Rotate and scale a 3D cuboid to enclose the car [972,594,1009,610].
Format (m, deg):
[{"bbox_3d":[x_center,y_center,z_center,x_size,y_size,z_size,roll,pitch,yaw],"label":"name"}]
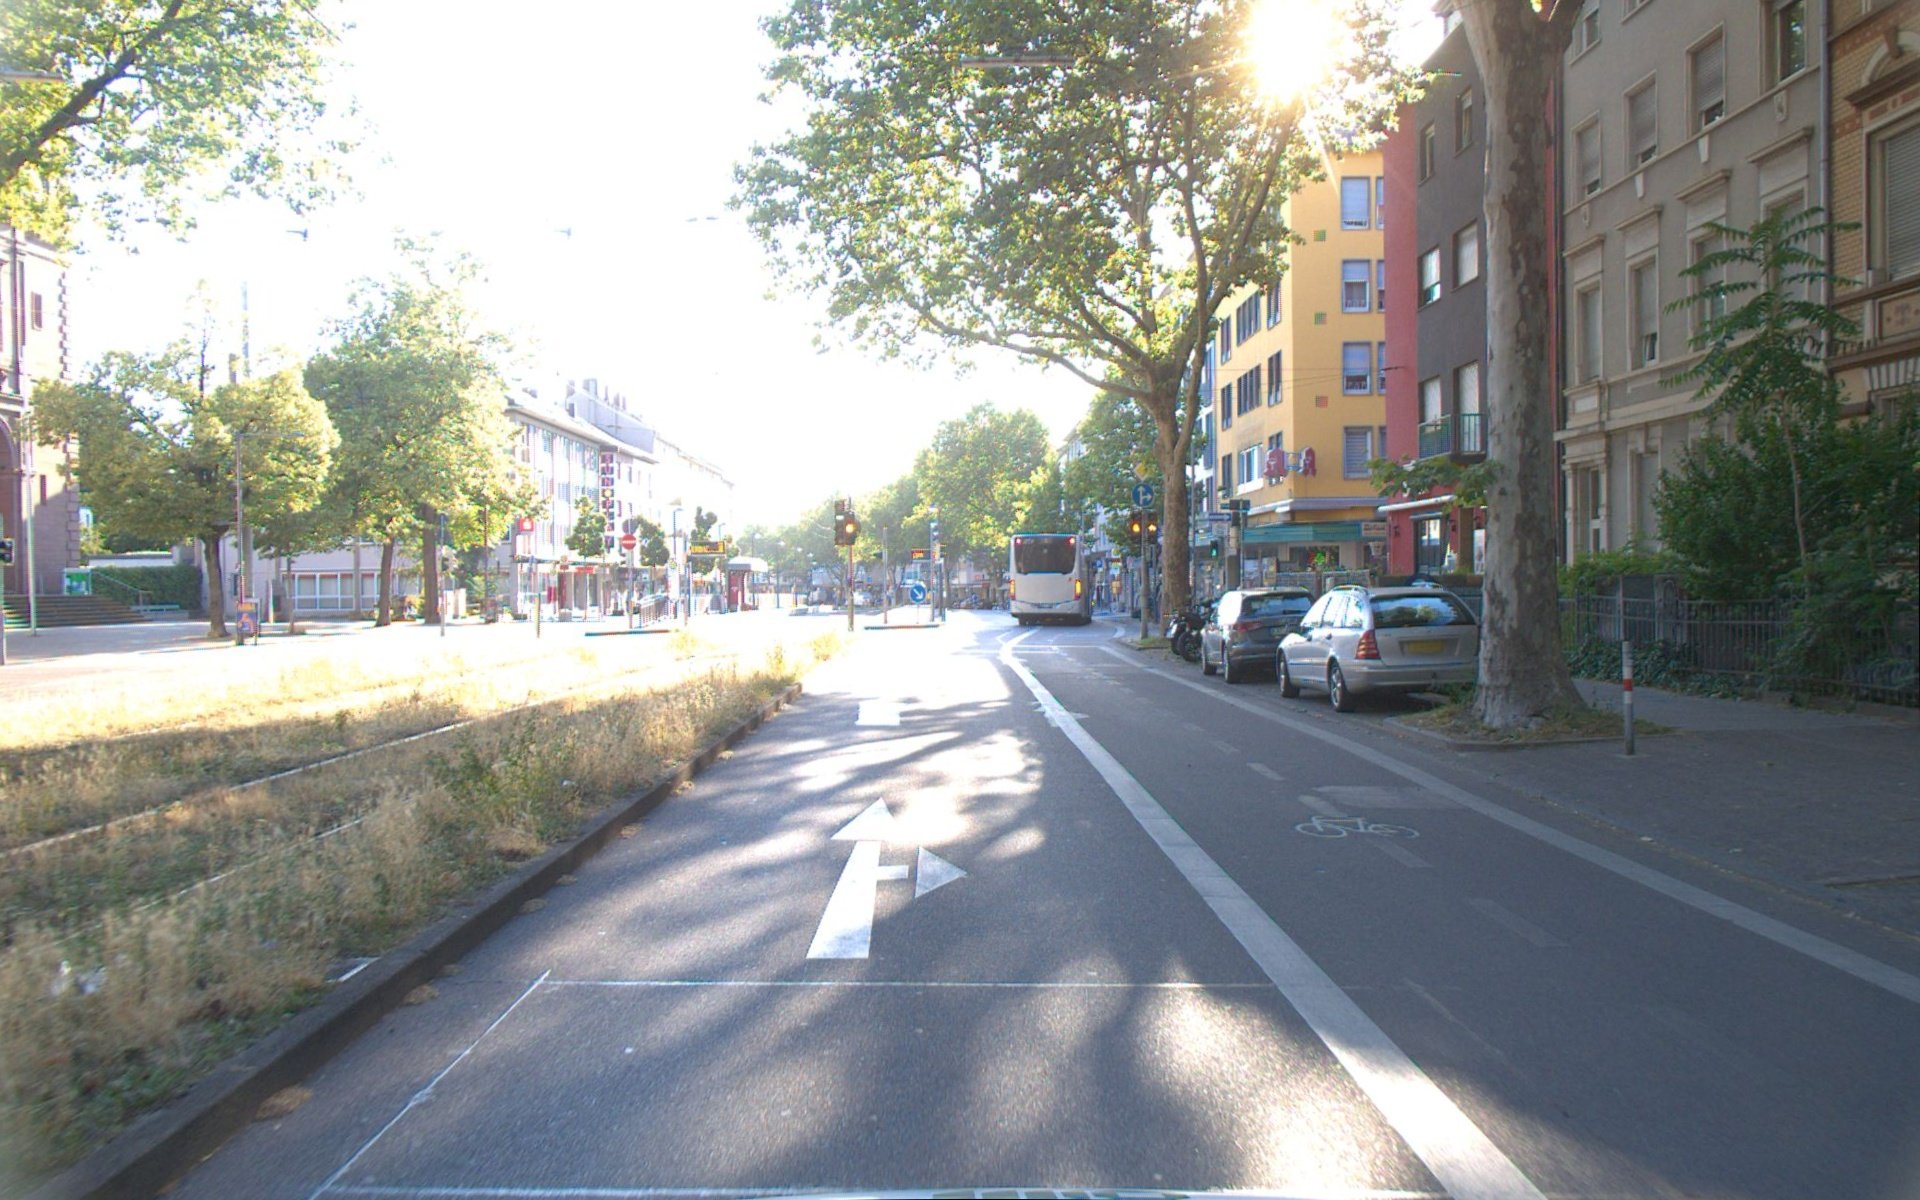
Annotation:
[{"bbox_3d":[3.536,0.226,191.575,3.847,1.729,1.816,-1,1,-29],"label":"car"}]

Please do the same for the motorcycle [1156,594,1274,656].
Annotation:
[{"bbox_3d":[5.002,0.476,32.432,2.176,1.081,0.762,-3,1,-23],"label":"motorcycle"}]

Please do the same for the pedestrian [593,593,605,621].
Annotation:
[{"bbox_3d":[-26.300,0.484,120.630,0.694,2.049,0.948,0,0,-1],"label":"pedestrian"}]

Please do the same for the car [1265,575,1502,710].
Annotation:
[{"bbox_3d":[5.168,0.448,20.821,1.640,1.477,4.569,-1,1,-2],"label":"car"}]

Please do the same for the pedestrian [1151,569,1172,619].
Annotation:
[{"bbox_3d":[7.340,-0.205,60.244,0.666,1.801,0.687,-1,0,0],"label":"pedestrian"}]

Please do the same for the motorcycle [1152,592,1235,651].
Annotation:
[{"bbox_3d":[4.898,0.435,34.607,1.982,1.172,0.592,-2,1,-43],"label":"motorcycle"}]

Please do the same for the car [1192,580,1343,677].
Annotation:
[{"bbox_3d":[4.941,0.398,27.085,1.675,1.421,4.322,-1,1,0],"label":"car"}]

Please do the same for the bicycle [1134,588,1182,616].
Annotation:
[{"bbox_3d":[7.650,0.075,63.910,1.736,1.039,0.694,-2,0,-1],"label":"bicycle"}]

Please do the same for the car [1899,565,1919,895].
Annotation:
[{"bbox_3d":[5.416,0.623,6.031,1.620,1.572,3.999,-1,1,-1],"label":"car"}]

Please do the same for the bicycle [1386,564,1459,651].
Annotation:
[{"bbox_3d":[8.077,0.122,28.965,0.594,1.451,2.396,1,0,0],"label":"bicycle"}]

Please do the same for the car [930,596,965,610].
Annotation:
[{"bbox_3d":[-1.488,0.390,199.057,3.847,1.624,1.675,-1,1,-29],"label":"car"}]

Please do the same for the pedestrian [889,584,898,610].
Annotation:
[{"bbox_3d":[-2.260,-0.108,56.089,0.285,0.890,0.344,1,0,-3],"label":"pedestrian"}]

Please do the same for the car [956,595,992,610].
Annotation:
[{"bbox_3d":[1.614,0.258,194.620,3.847,1.729,1.816,-1,1,-29],"label":"car"}]

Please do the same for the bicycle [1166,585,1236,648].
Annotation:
[{"bbox_3d":[5.256,0.347,35.987,0.683,1.224,1.839,1,4,38],"label":"bicycle"}]

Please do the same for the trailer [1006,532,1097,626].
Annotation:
[{"bbox_3d":[3.487,-0.756,61.038,2.752,3.164,8.801,1,0,7],"label":"trailer"}]

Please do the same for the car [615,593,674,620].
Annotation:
[{"bbox_3d":[-23.387,0.477,122.493,3.939,1.847,1.983,-1,1,-27],"label":"car"}]
